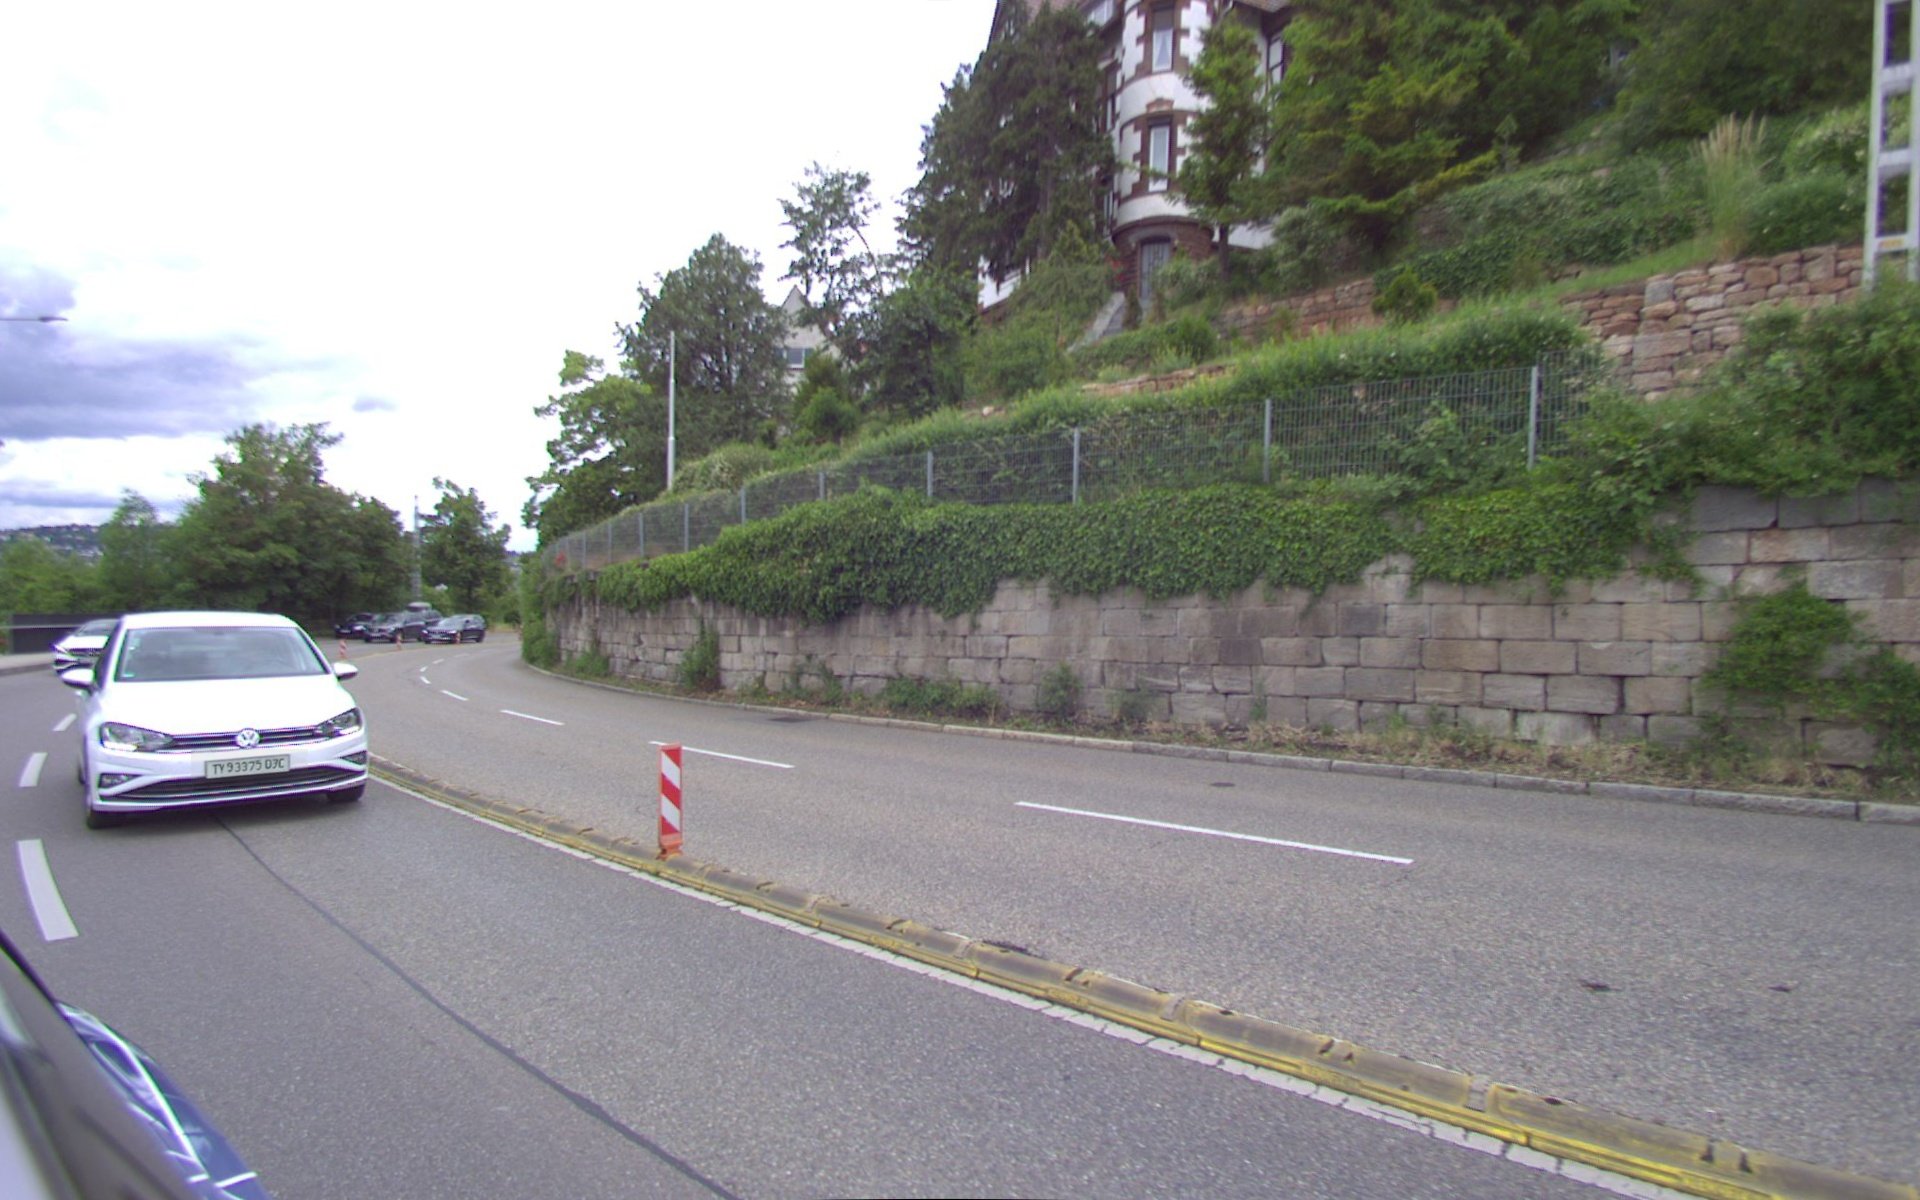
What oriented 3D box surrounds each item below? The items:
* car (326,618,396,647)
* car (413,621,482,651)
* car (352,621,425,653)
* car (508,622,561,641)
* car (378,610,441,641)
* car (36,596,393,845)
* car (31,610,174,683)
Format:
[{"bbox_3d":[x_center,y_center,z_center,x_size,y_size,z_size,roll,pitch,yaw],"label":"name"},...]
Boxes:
[{"bbox_3d":[-34.235,1.895,57.958,1.674,1.534,3.918,1,-3,-2],"label":"car"},{"bbox_3d":[-28.643,2.006,56.727,1.897,1.505,4.143,0,0,-2],"label":"car"},{"bbox_3d":[-31.471,2.014,55.886,1.874,1.505,4.145,0,1,-3],"label":"car"},{"bbox_3d":[-33.908,2.493,80.815,1.916,1.444,3.982,2,-1,14],"label":"car"},{"bbox_3d":[-34.756,1.600,64.021,1.674,1.845,4.407,4,-1,-3],"label":"car"},{"bbox_3d":[-6.555,0.846,8.687,1.800,1.592,4.359,4,-4,-44],"label":"car"},{"bbox_3d":[-22.925,1.191,27.252,1.965,1.731,4.013,3,-1,-26],"label":"car"}]
